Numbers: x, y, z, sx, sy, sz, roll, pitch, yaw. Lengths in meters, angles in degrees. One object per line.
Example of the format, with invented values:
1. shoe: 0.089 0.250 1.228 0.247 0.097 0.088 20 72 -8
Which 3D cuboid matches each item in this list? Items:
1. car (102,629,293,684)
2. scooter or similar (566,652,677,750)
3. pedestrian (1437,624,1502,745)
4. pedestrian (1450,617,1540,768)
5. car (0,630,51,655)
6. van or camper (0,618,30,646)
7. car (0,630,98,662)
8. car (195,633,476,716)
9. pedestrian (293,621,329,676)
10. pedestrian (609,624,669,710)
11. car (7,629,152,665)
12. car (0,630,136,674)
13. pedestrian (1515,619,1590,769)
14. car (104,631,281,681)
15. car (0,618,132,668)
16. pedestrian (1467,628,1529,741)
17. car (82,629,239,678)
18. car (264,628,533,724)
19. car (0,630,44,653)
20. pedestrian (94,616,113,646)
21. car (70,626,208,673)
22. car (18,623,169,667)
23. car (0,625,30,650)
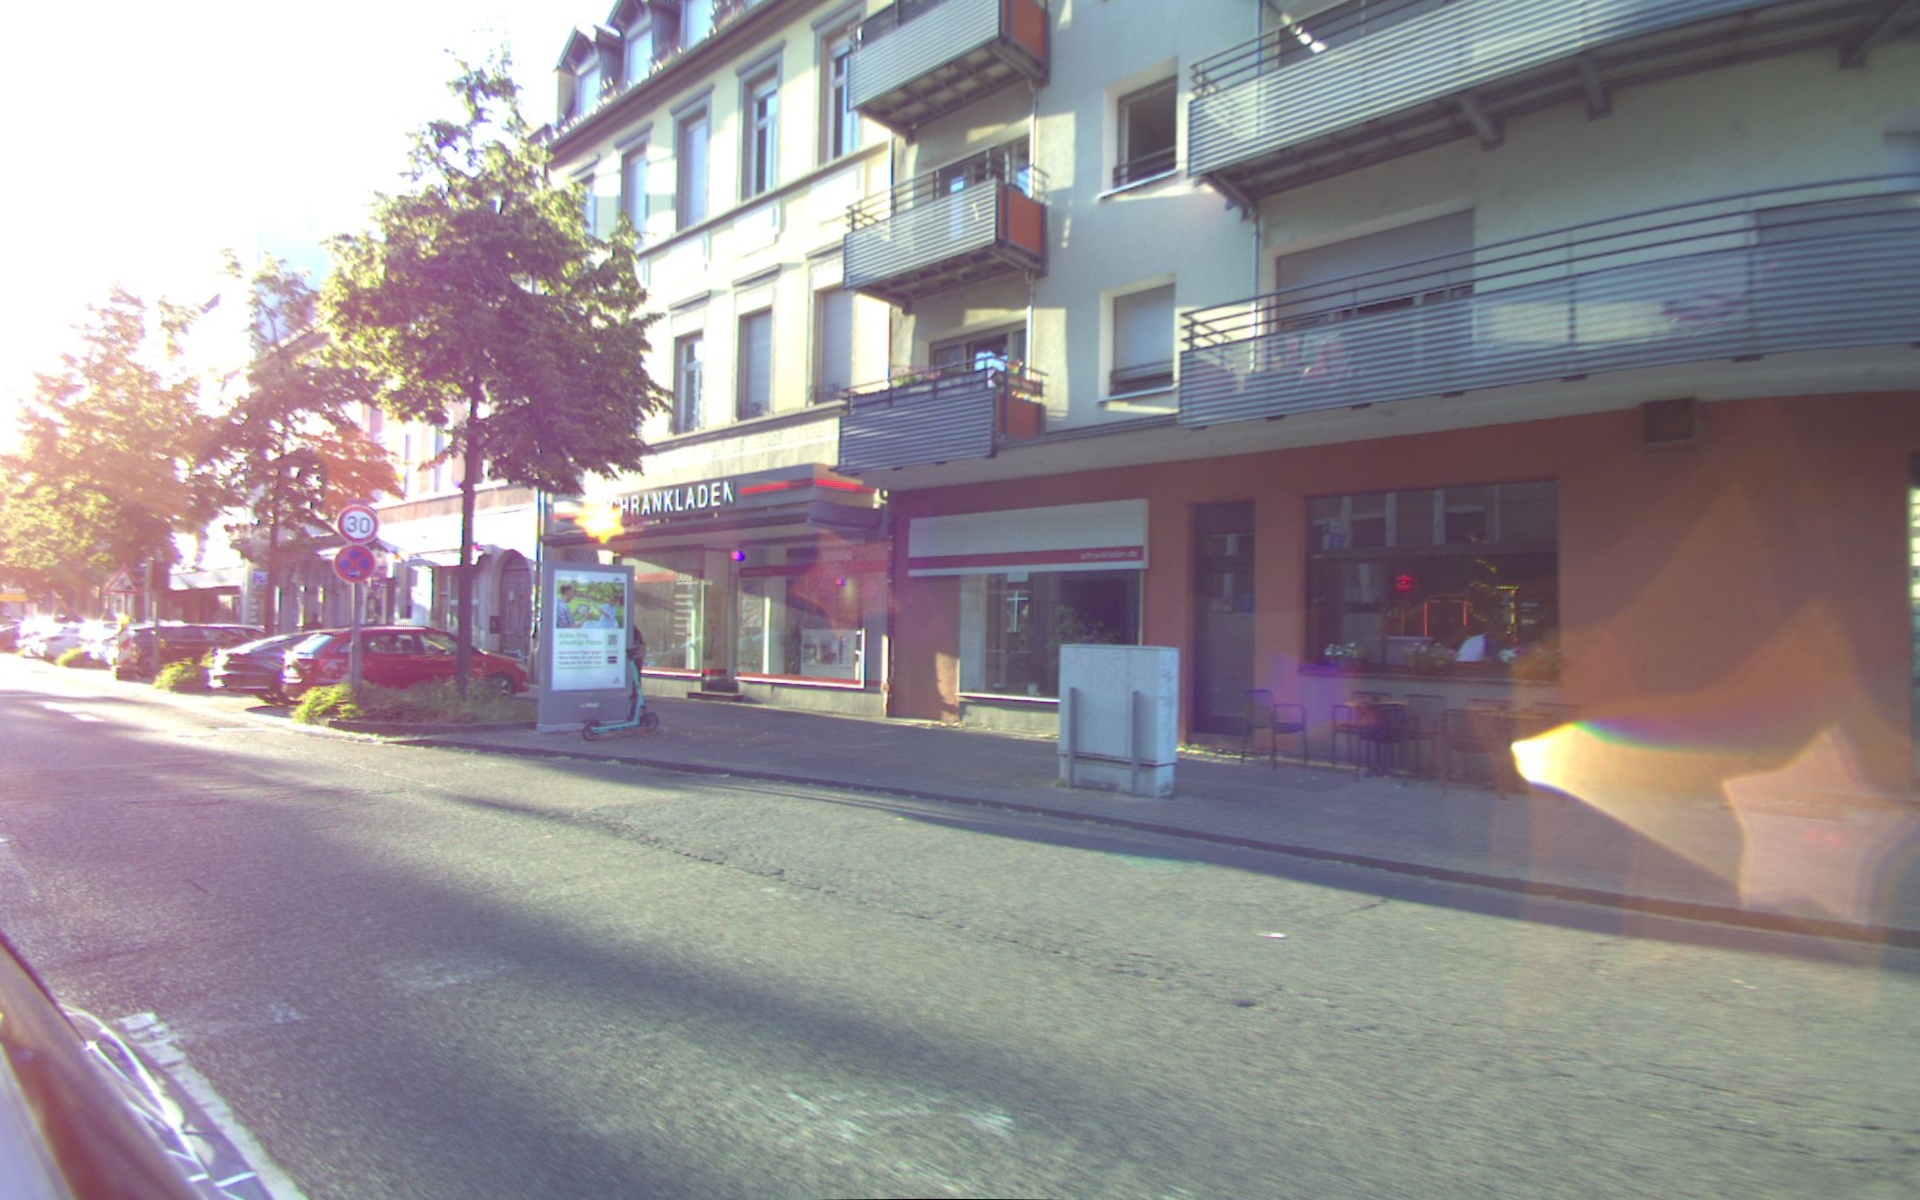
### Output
1. car: -21.798 1.570 29.048 1.882 1.414 4.066 -1 -2 39
2. scooter or similar: -4.631 1.351 13.900 0.525 1.235 1.384 -1 -2 38
3. pedestrian: 6.735 1.101 13.374 0.598 1.530 0.665 0 -2 42
4. pedestrian: 5.970 1.005 11.296 0.751 1.607 0.589 0 -2 43
5. car: -57.990 2.565 61.517 1.742 1.468 3.827 -2 -2 39
6. van or camper: -68.678 2.265 71.396 1.789 1.971 4.410 -2 -3 43
7. car: -45.953 2.272 50.541 1.744 1.495 4.229 -2 -2 42
8. car: -12.497 1.409 20.519 1.820 1.418 4.524 -1 -2 40
9. pedestrian: -20.995 1.554 32.761 0.875 1.734 0.763 0 0 42
10. pedestrian: -6.310 1.287 19.892 0.875 1.620 0.763 0 0 42
11. car: -37.751 1.976 43.463 1.743 1.495 4.500 -2 -2 41
12. car: -31.887 1.802 35.693 1.765 1.432 4.108 -1 -2 39
13. pedestrian: 6.701 1.037 11.445 0.598 1.607 0.665 0 -2 42
14. car: -23.474 1.673 31.042 1.843 1.414 4.052 -2 -3 43
15. car: -33.789 1.573 37.809 1.888 1.786 4.108 -1 -2 39
16. pedestrian: 7.376 1.139 13.867 0.598 1.469 0.665 0 -2 42
17. car: -25.755 1.679 32.687 1.804 1.455 3.701 -1 -2 39
18. car: -10.425 1.322 18.997 1.883 1.548 4.029 -2 -2 41
19. car: -59.798 2.615 62.928 1.742 1.397 4.002 -2 -2 38
20. pedestrian: -51.023 1.825 60.308 0.933 1.762 0.711 -2 0 42
21. car: -28.831 1.700 35.619 1.715 1.513 3.520 -1 -2 40
22. car: -34.582 1.761 40.477 1.889 1.608 4.361 -2 -2 40
23. car: -66.710 2.564 69.436 1.733 1.681 4.136 -1 -2 44
